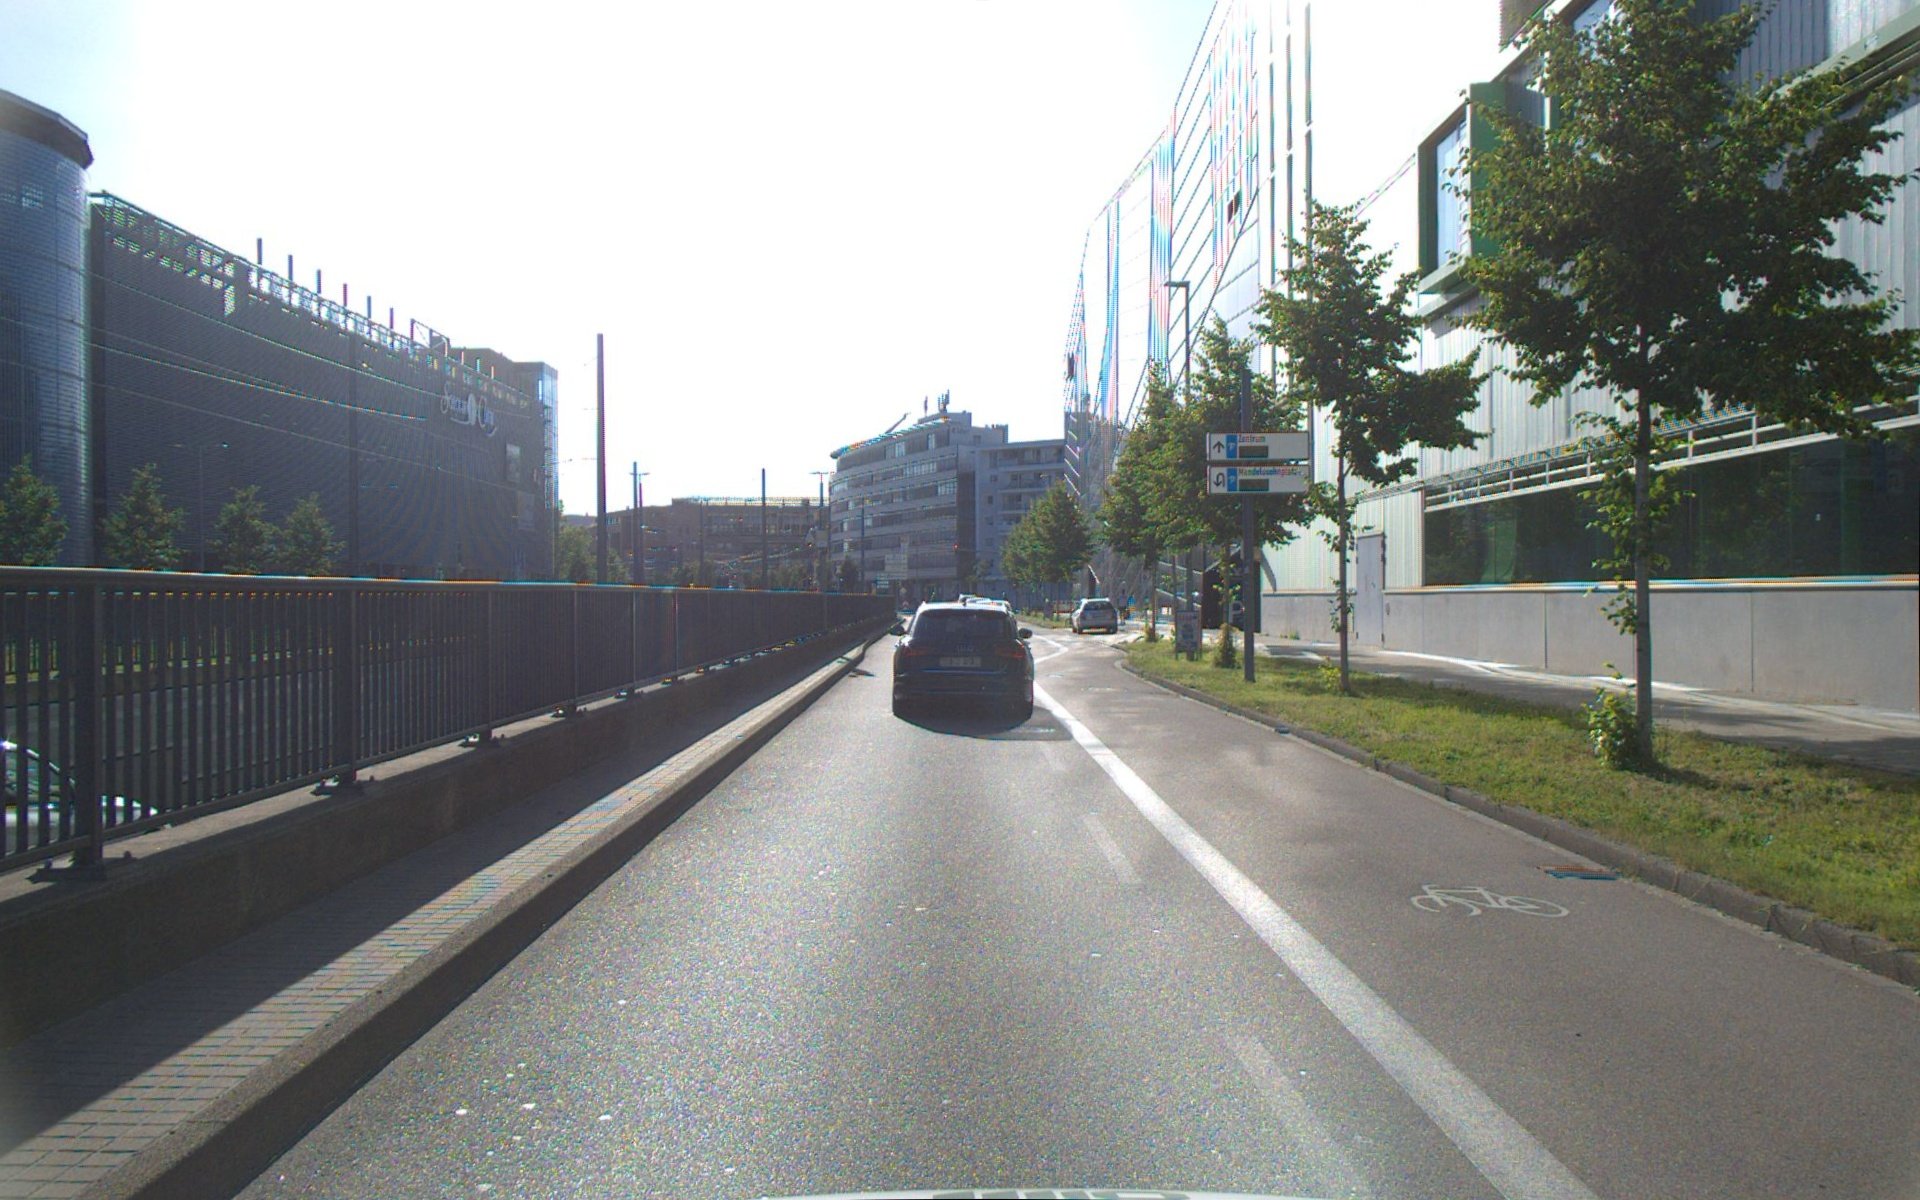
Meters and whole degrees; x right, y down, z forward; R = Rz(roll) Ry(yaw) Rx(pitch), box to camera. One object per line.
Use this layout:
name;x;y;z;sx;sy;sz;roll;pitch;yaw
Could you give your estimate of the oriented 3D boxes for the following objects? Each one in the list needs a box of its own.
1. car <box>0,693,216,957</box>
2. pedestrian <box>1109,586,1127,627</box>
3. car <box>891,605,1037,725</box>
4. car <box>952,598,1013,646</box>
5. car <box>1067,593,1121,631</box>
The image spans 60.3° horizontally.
car;-7.305;1.602;11.688;1.761;1.553;4.911;1;0;1
pedestrian;8.006;0.328;83.969;0.819;2.049;0.689;-1;0;0
car;-0.006;0.801;22.596;1.775;1.452;4.688;-1;0;-1
car;0.760;0.762;58.539;1.816;1.573;3.997;1;0;-4
car;5.836;0.490;72.403;1.815;1.507;4.853;-2;0;-1
